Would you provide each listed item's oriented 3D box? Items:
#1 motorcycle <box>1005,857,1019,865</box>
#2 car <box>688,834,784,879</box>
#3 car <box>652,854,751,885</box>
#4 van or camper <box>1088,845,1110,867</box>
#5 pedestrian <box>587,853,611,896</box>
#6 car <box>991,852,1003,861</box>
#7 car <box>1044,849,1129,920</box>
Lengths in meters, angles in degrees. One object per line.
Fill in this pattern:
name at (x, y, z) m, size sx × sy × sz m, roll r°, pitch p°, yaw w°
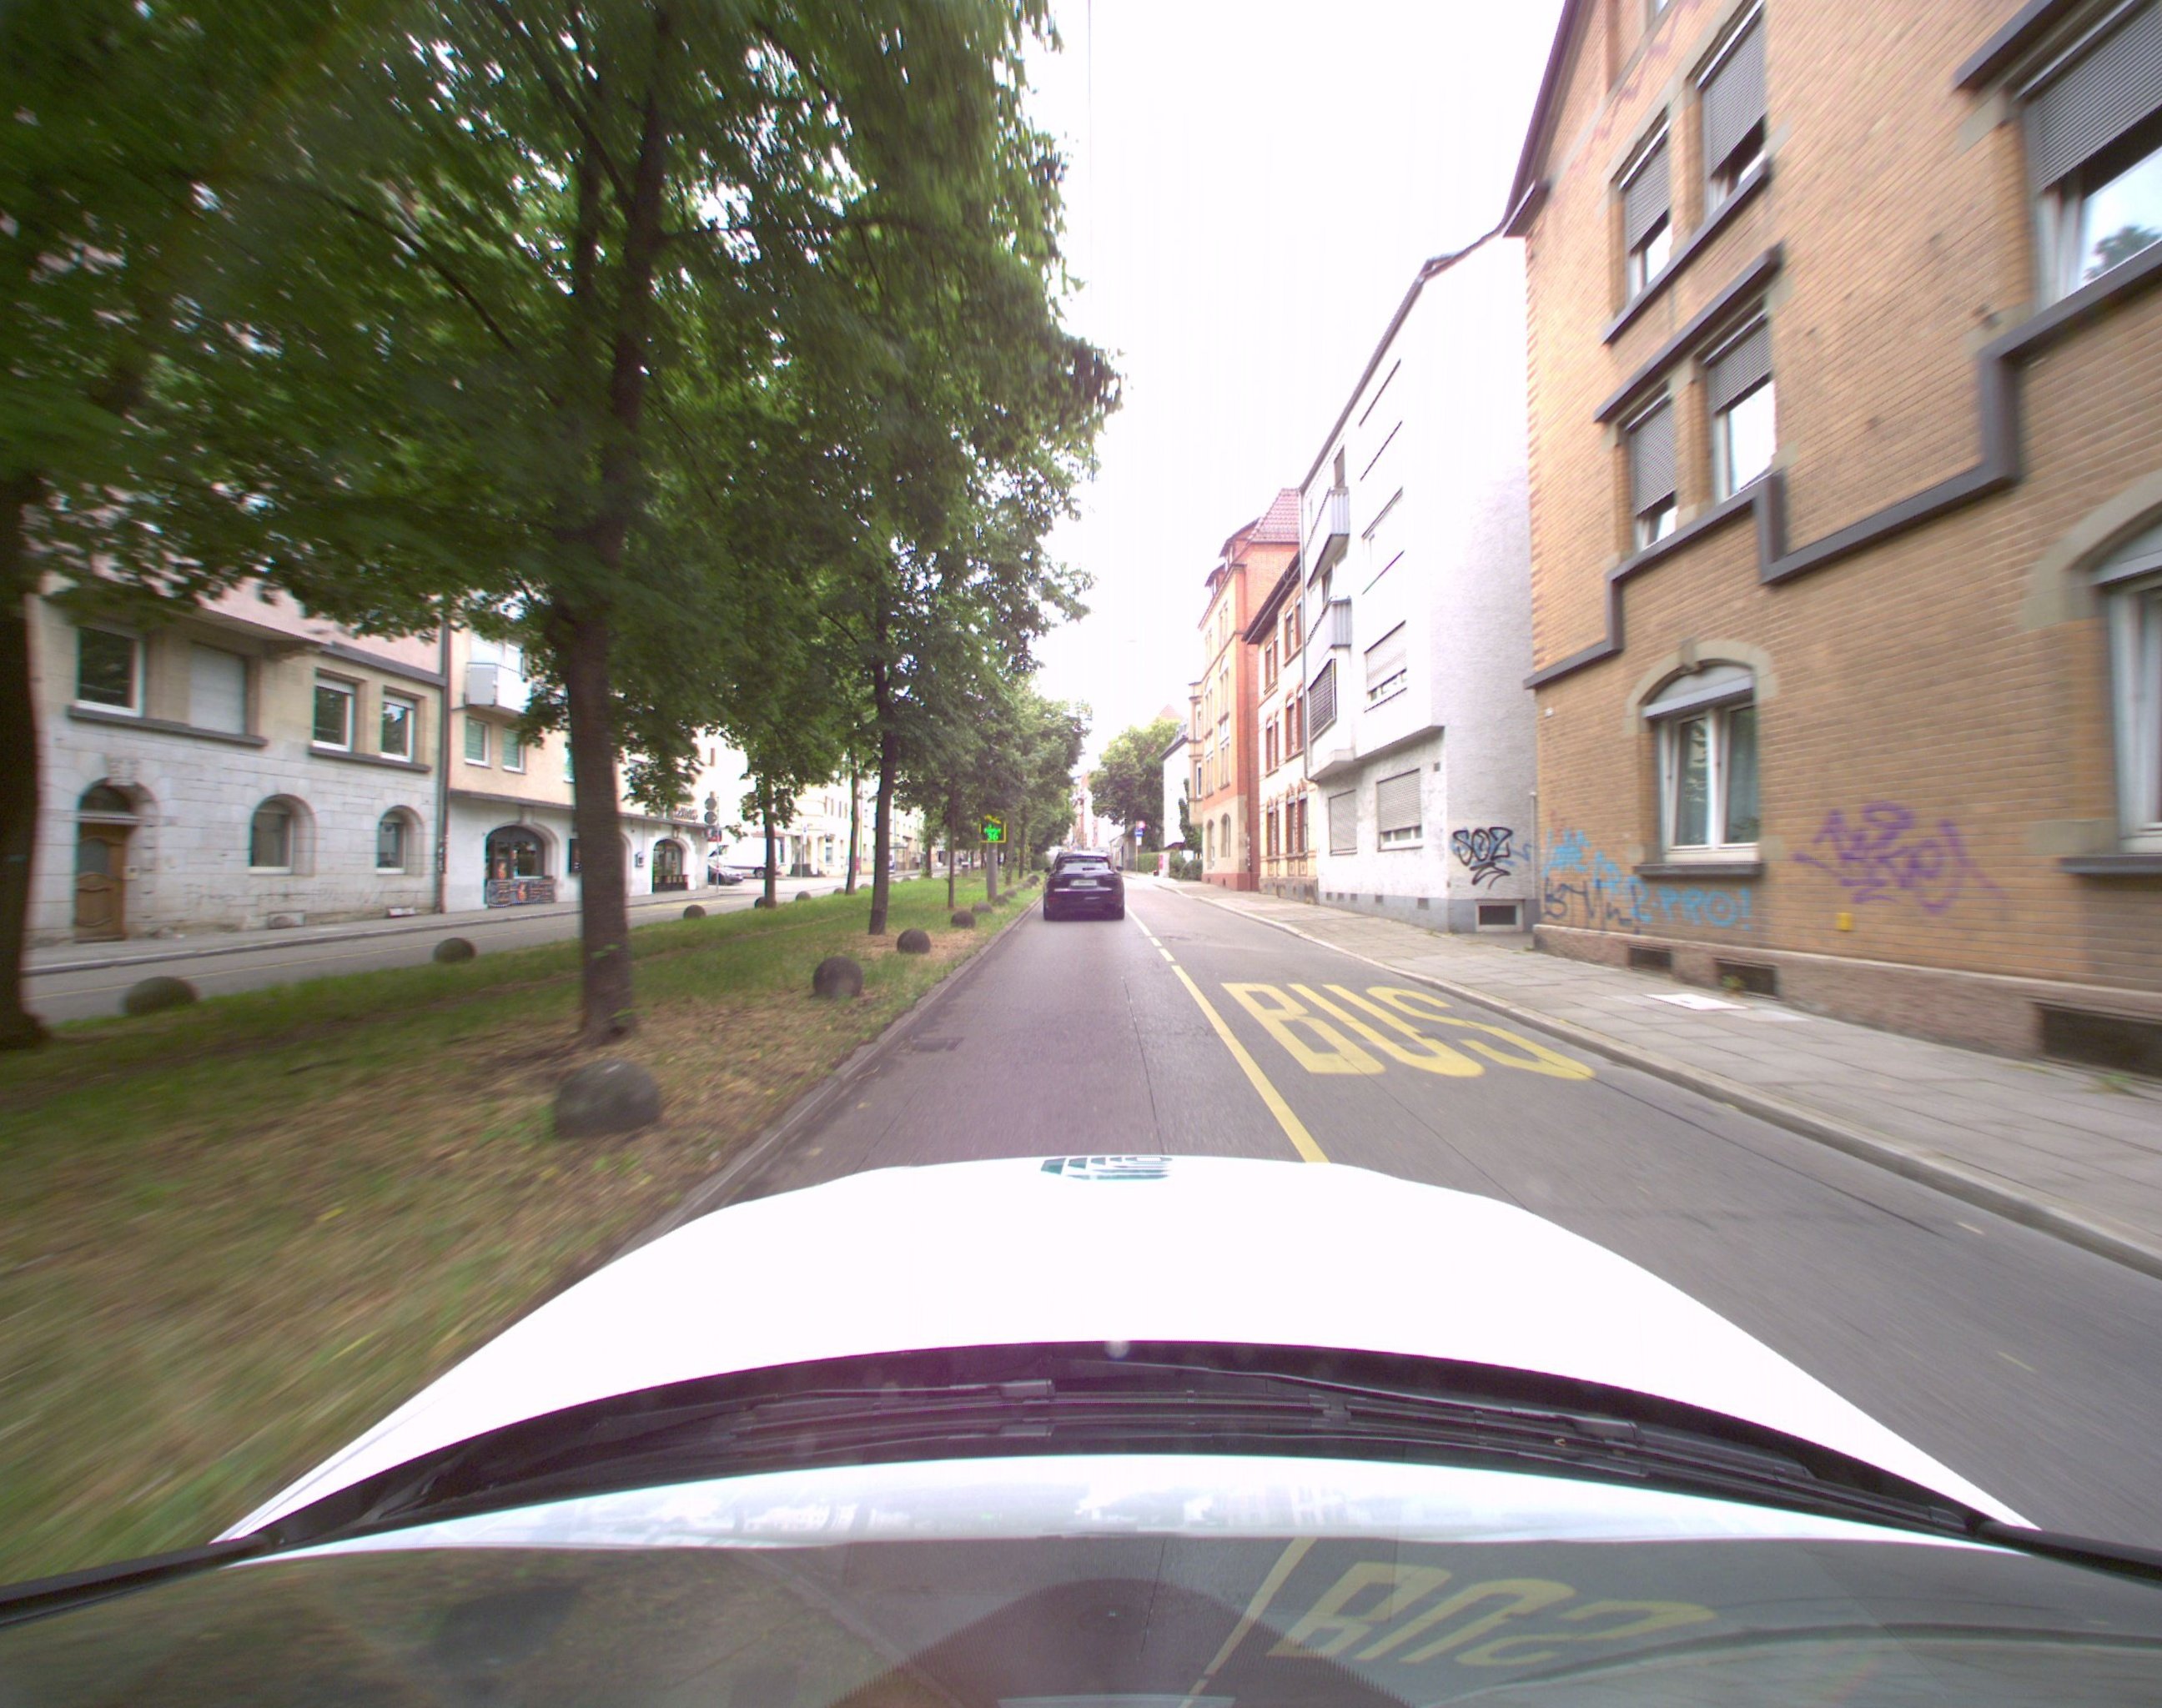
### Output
motorcycle at (-11.924, 1.186, 141.620) m, size 2.377 × 1.317 × 1.044 m, roll 0°, pitch 0°, yaw -4°
car at (-21.989, 0.167, 52.127) m, size 5.173 × 2.736 × 2.169 m, roll 1°, pitch -1°, yaw -11°
car at (-20.191, 0.817, 43.455) m, size 4.274 × 1.420 × 2.047 m, roll 2°, pitch 0°, yaw 0°
van or camper at (2.249, 0.258, 105.093) m, size 2.473 × 2.803 × 7.232 m, roll 0°, pitch 0°, yaw -2°
pedestrian at (-18.731, 0.790, 31.646) m, size 0.530 × 1.666 × 0.701 m, roll 0°, pitch 0°, yaw 0°
car at (-16.798, 0.462, 162.835) m, size 1.945 × 1.628 × 4.359 m, roll -6°, pitch 0°, yaw -4°
car at (0.030, 0.726, 21.142) m, size 1.900 × 1.666 × 4.129 m, roll 0°, pitch 0°, yaw -4°
